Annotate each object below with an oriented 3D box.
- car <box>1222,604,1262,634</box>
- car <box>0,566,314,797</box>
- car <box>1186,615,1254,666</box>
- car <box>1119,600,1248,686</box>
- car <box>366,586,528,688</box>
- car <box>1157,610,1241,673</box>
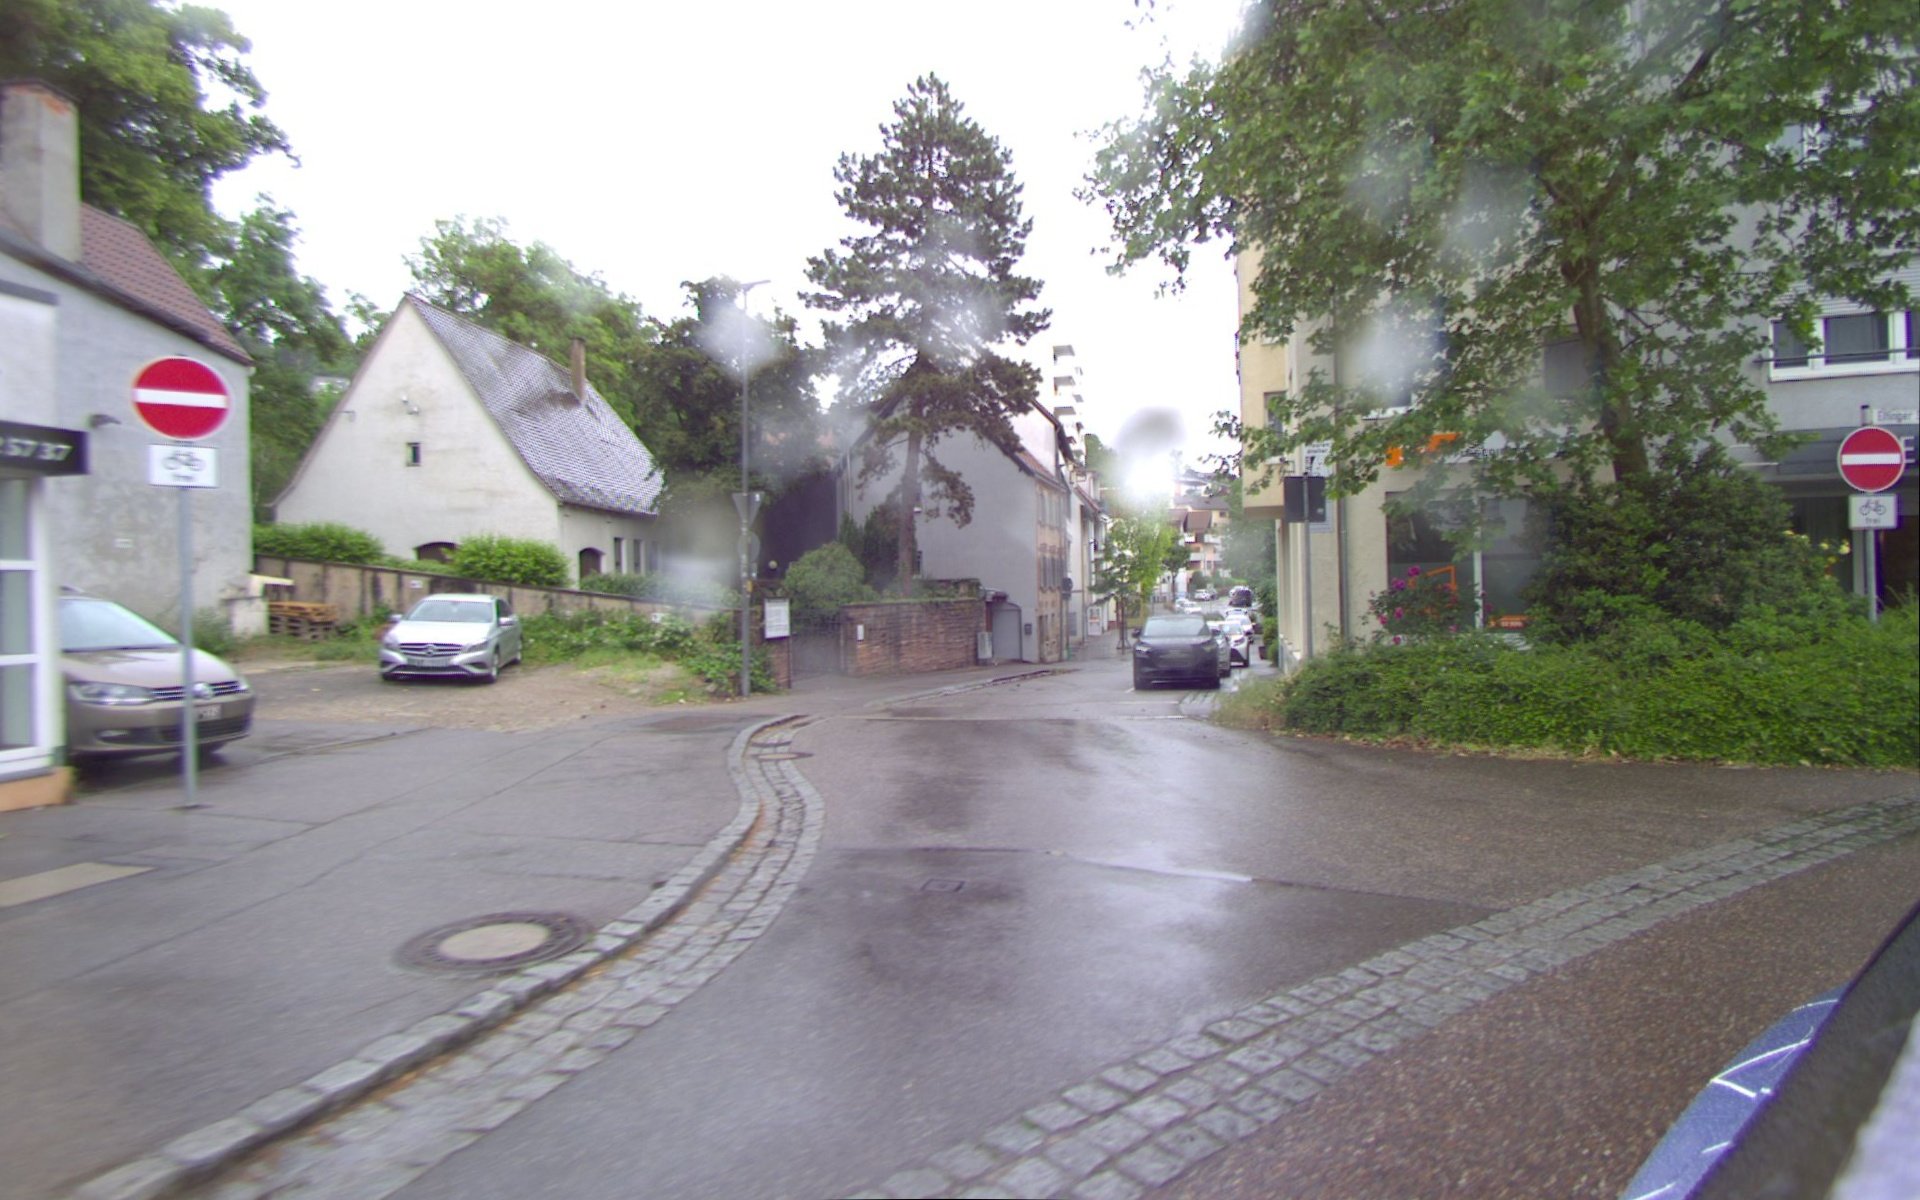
[{"bbox_3d":[15.633,1.038,56.031,1.973,1.594,3.976,0,-1,18],"label":"car"},{"bbox_3d":[-8.664,0.622,9.603,3.937,1.794,1.994,3,0,11],"label":"car"},{"bbox_3d":[8.697,1.305,33.624,1.973,1.594,3.976,0,-1,18],"label":"car"},{"bbox_3d":[5.037,0.985,22.446,1.978,1.673,3.965,-4,-4,24],"label":"car"},{"bbox_3d":[-8.987,0.570,18.061,1.795,1.492,4.010,2,2,-16],"label":"car"},{"bbox_3d":[6.691,1.112,28.041,1.973,1.594,3.976,0,-1,18],"label":"car"}]
